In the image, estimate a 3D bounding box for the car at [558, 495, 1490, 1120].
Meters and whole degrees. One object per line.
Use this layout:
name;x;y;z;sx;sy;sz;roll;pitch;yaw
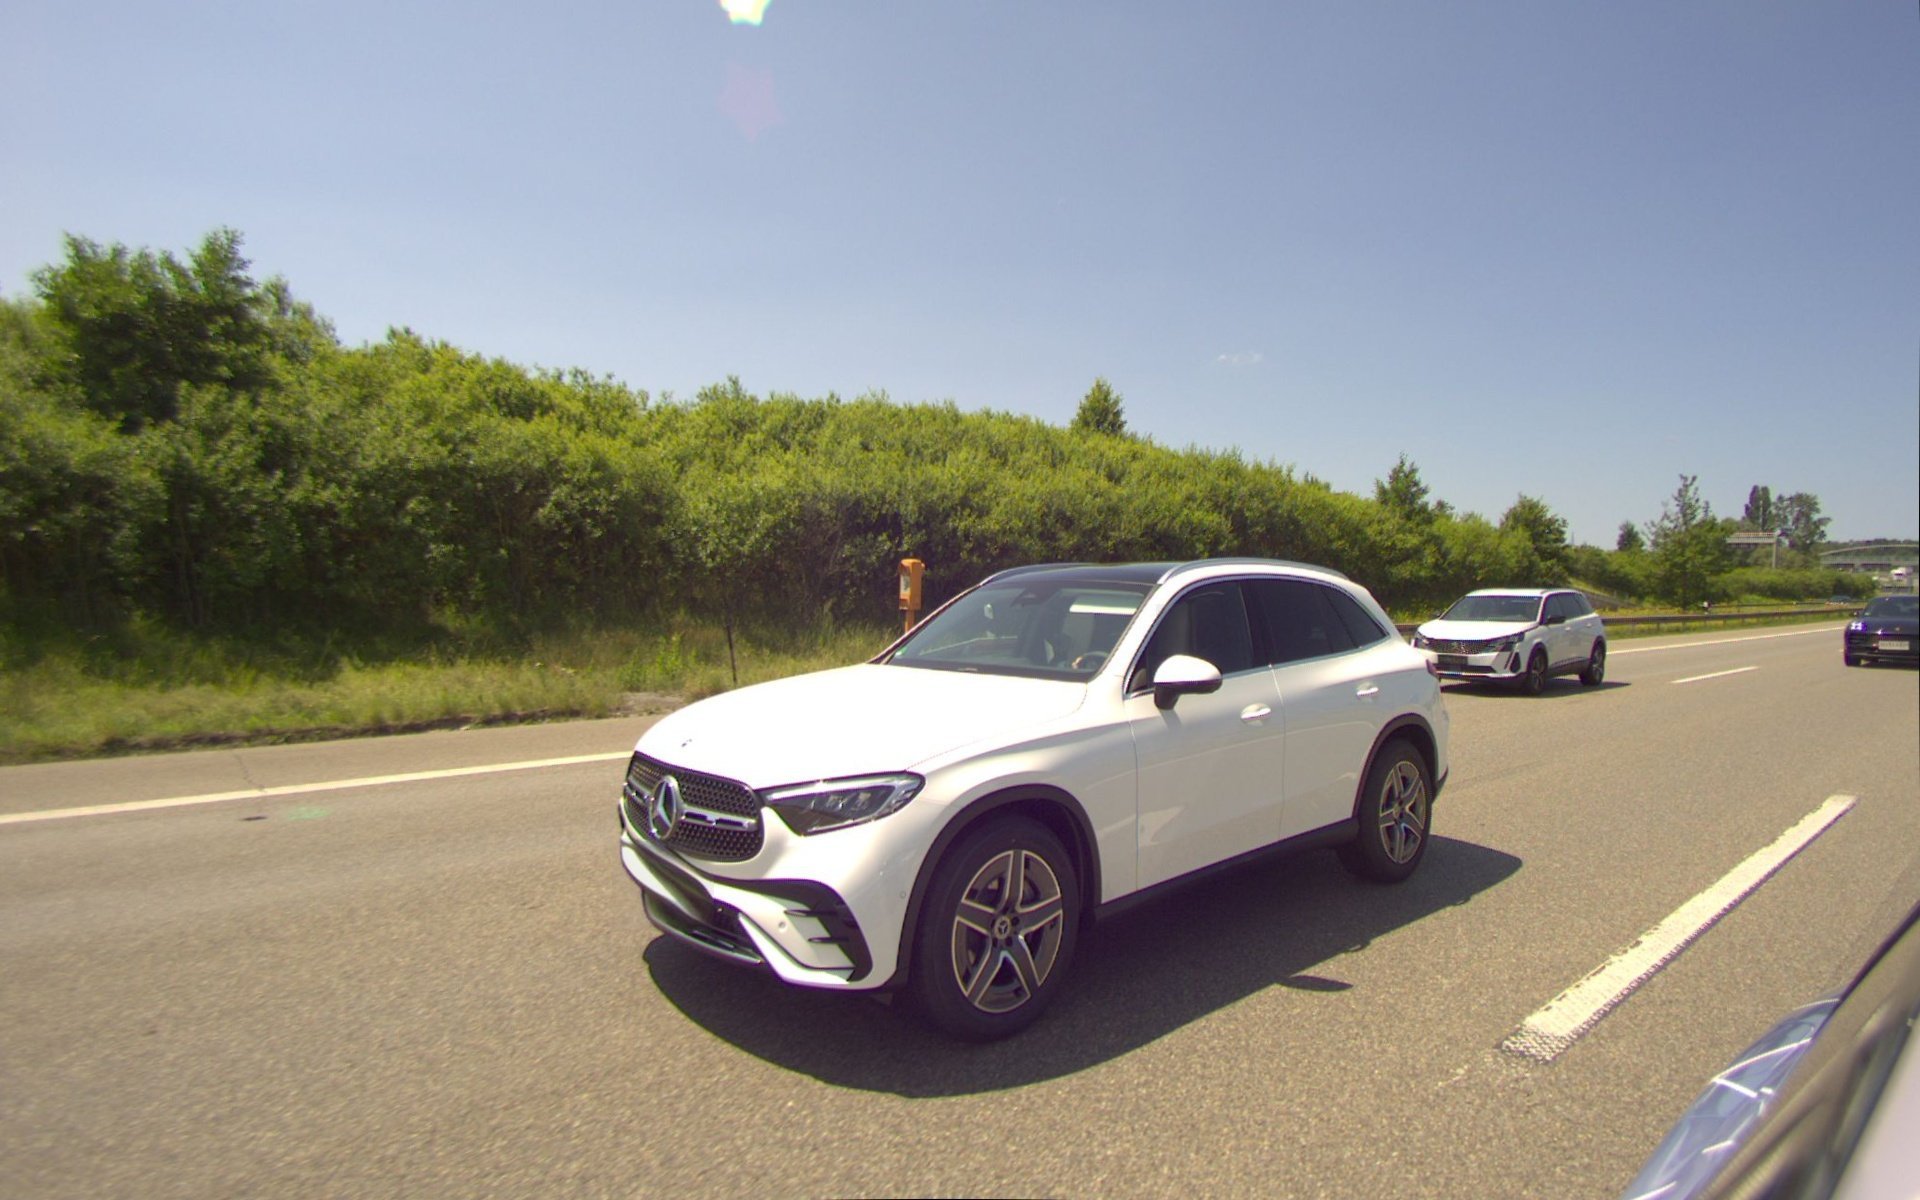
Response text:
car;0.677;0.553;4.956;4.556;1.677;1.908;0;0;-41

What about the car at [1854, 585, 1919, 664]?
car;21.816;0.491;22.903;4.540;1.650;1.979;-1;1;-43

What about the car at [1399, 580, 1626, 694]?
car;9.290;0.504;16.840;4.537;1.650;1.896;-1;1;-41
